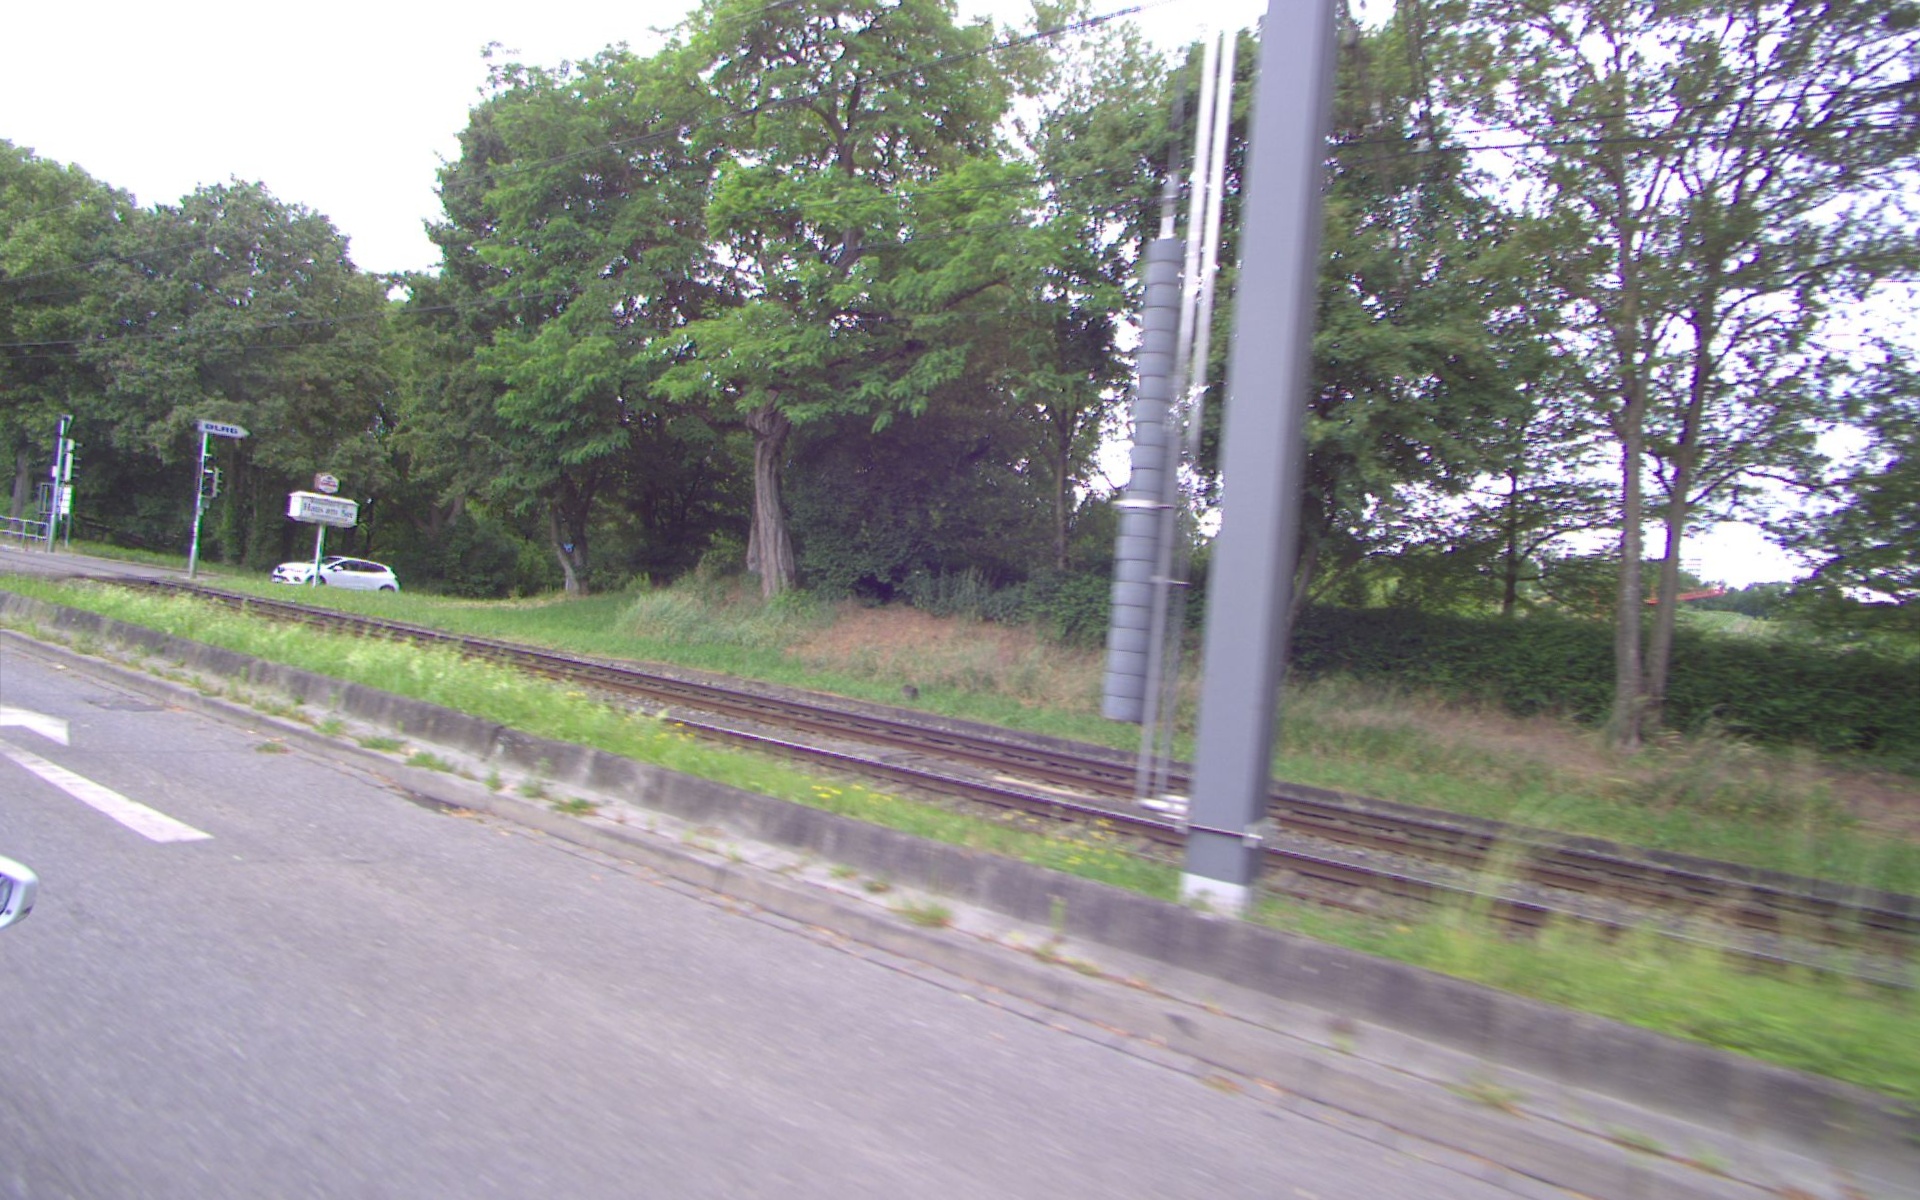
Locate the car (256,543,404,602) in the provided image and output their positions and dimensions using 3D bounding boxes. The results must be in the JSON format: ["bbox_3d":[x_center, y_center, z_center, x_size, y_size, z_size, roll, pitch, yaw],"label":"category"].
[{"bbox_3d":[-22.859,-0.958,36.674,1.965,1.368,4.005,7,-5,26],"label":"car"}]
